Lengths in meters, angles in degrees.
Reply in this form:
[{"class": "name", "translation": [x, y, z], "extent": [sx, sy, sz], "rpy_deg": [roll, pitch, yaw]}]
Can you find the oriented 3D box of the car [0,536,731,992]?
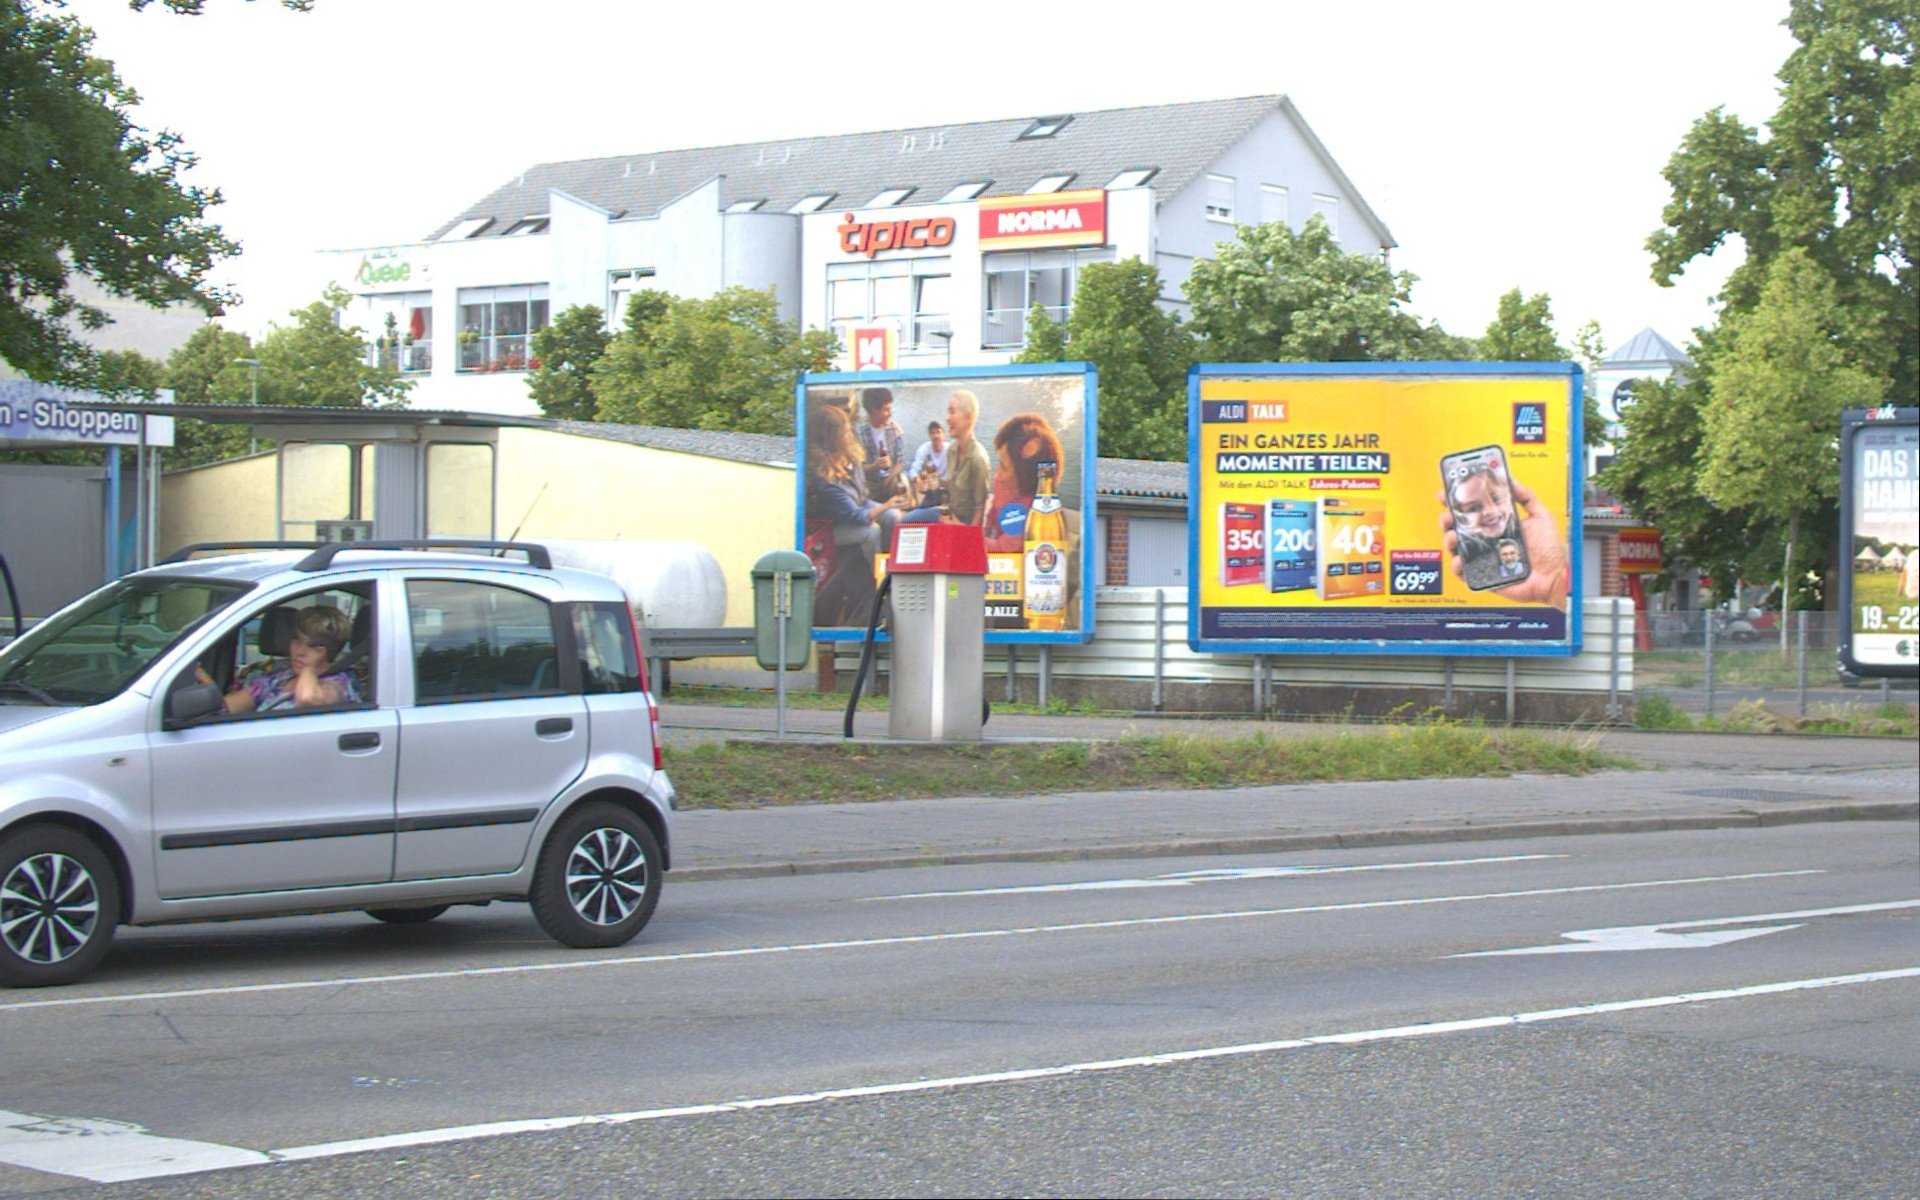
[{"class": "car", "translation": [-2.765, 0.539, 12.769], "extent": [3.598, 1.512, 1.558], "rpy_deg": [0, 0, -41]}]
